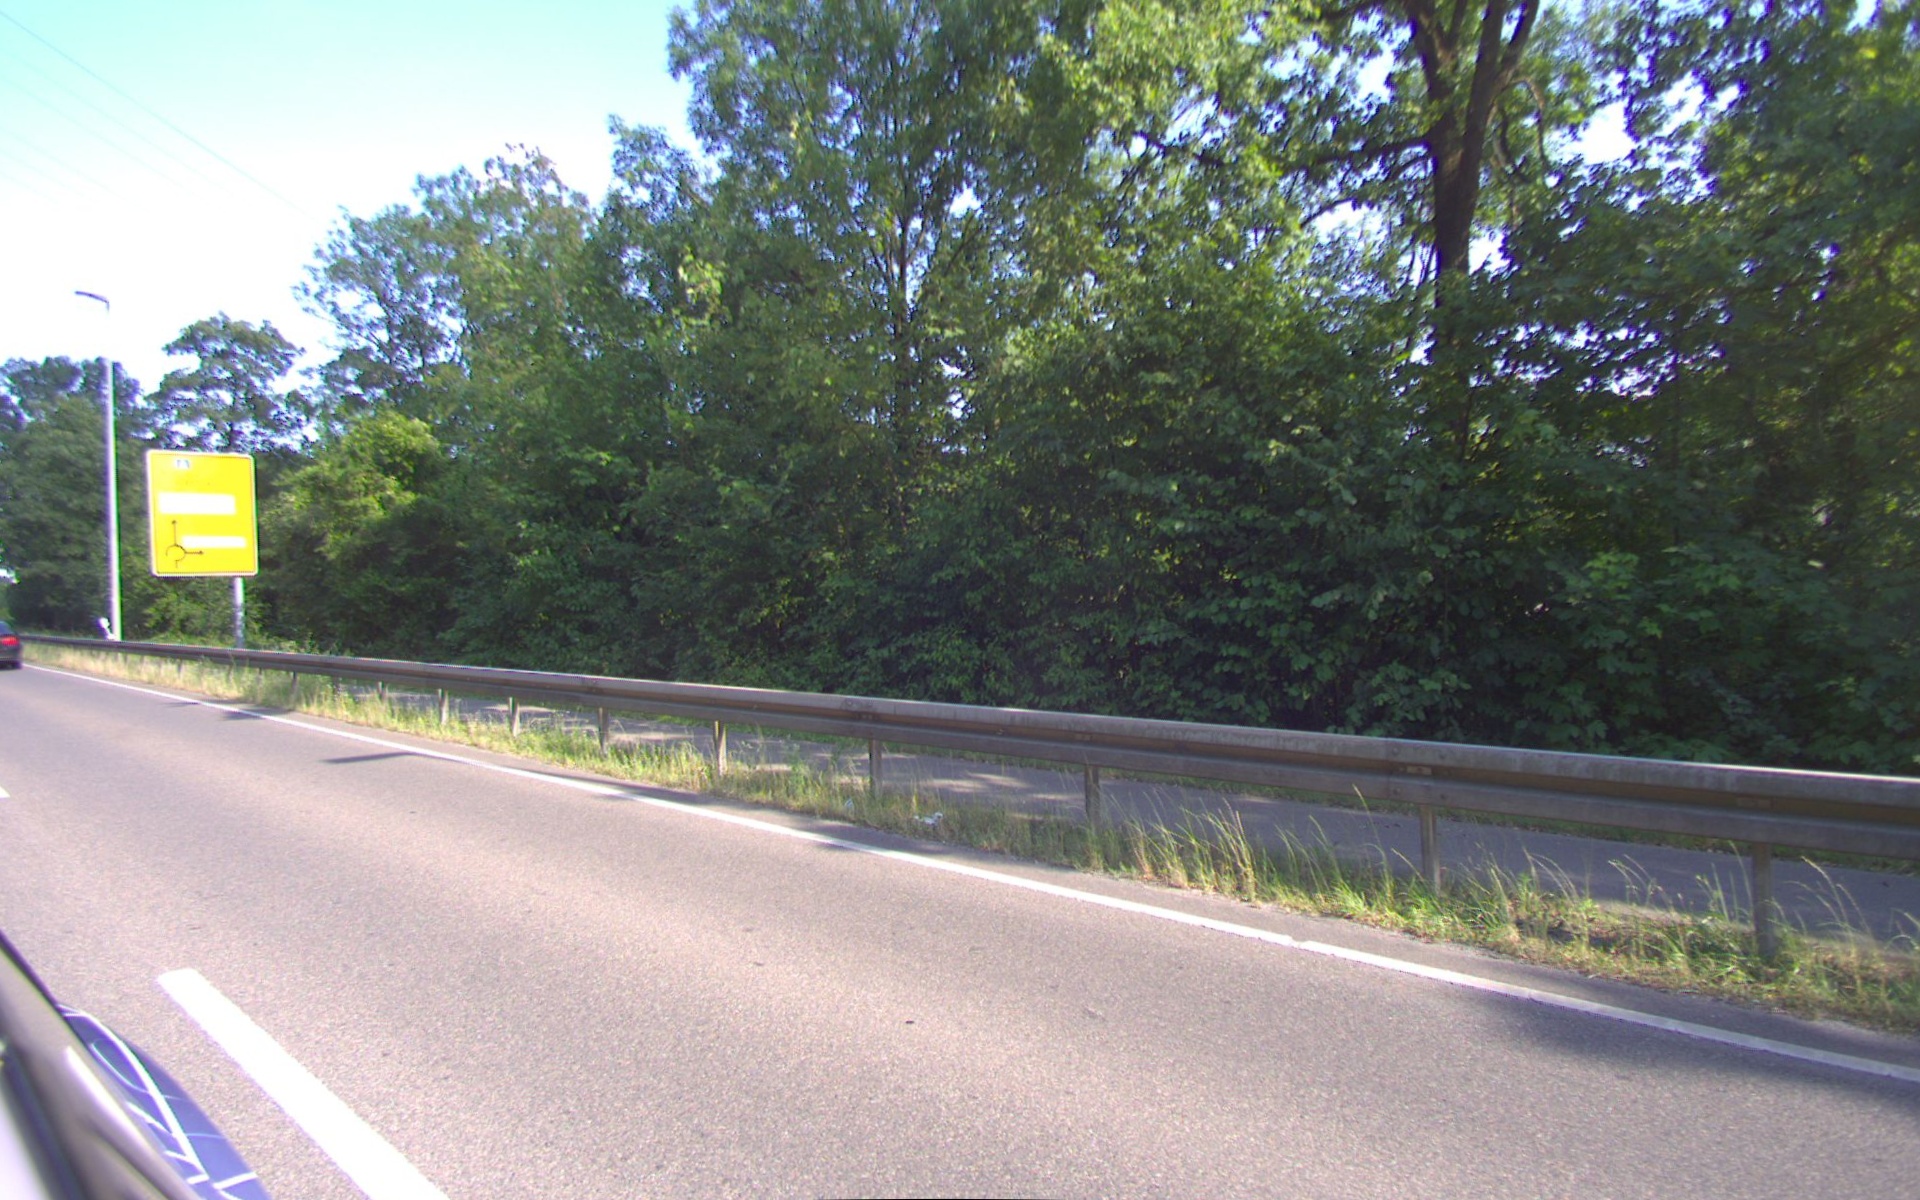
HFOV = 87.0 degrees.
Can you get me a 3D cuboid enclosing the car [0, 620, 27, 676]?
[{"bbox_3d":[-26.803,1.294,27.526,4.140,1.431,1.674,-1,-1,42],"label":"car"}]
